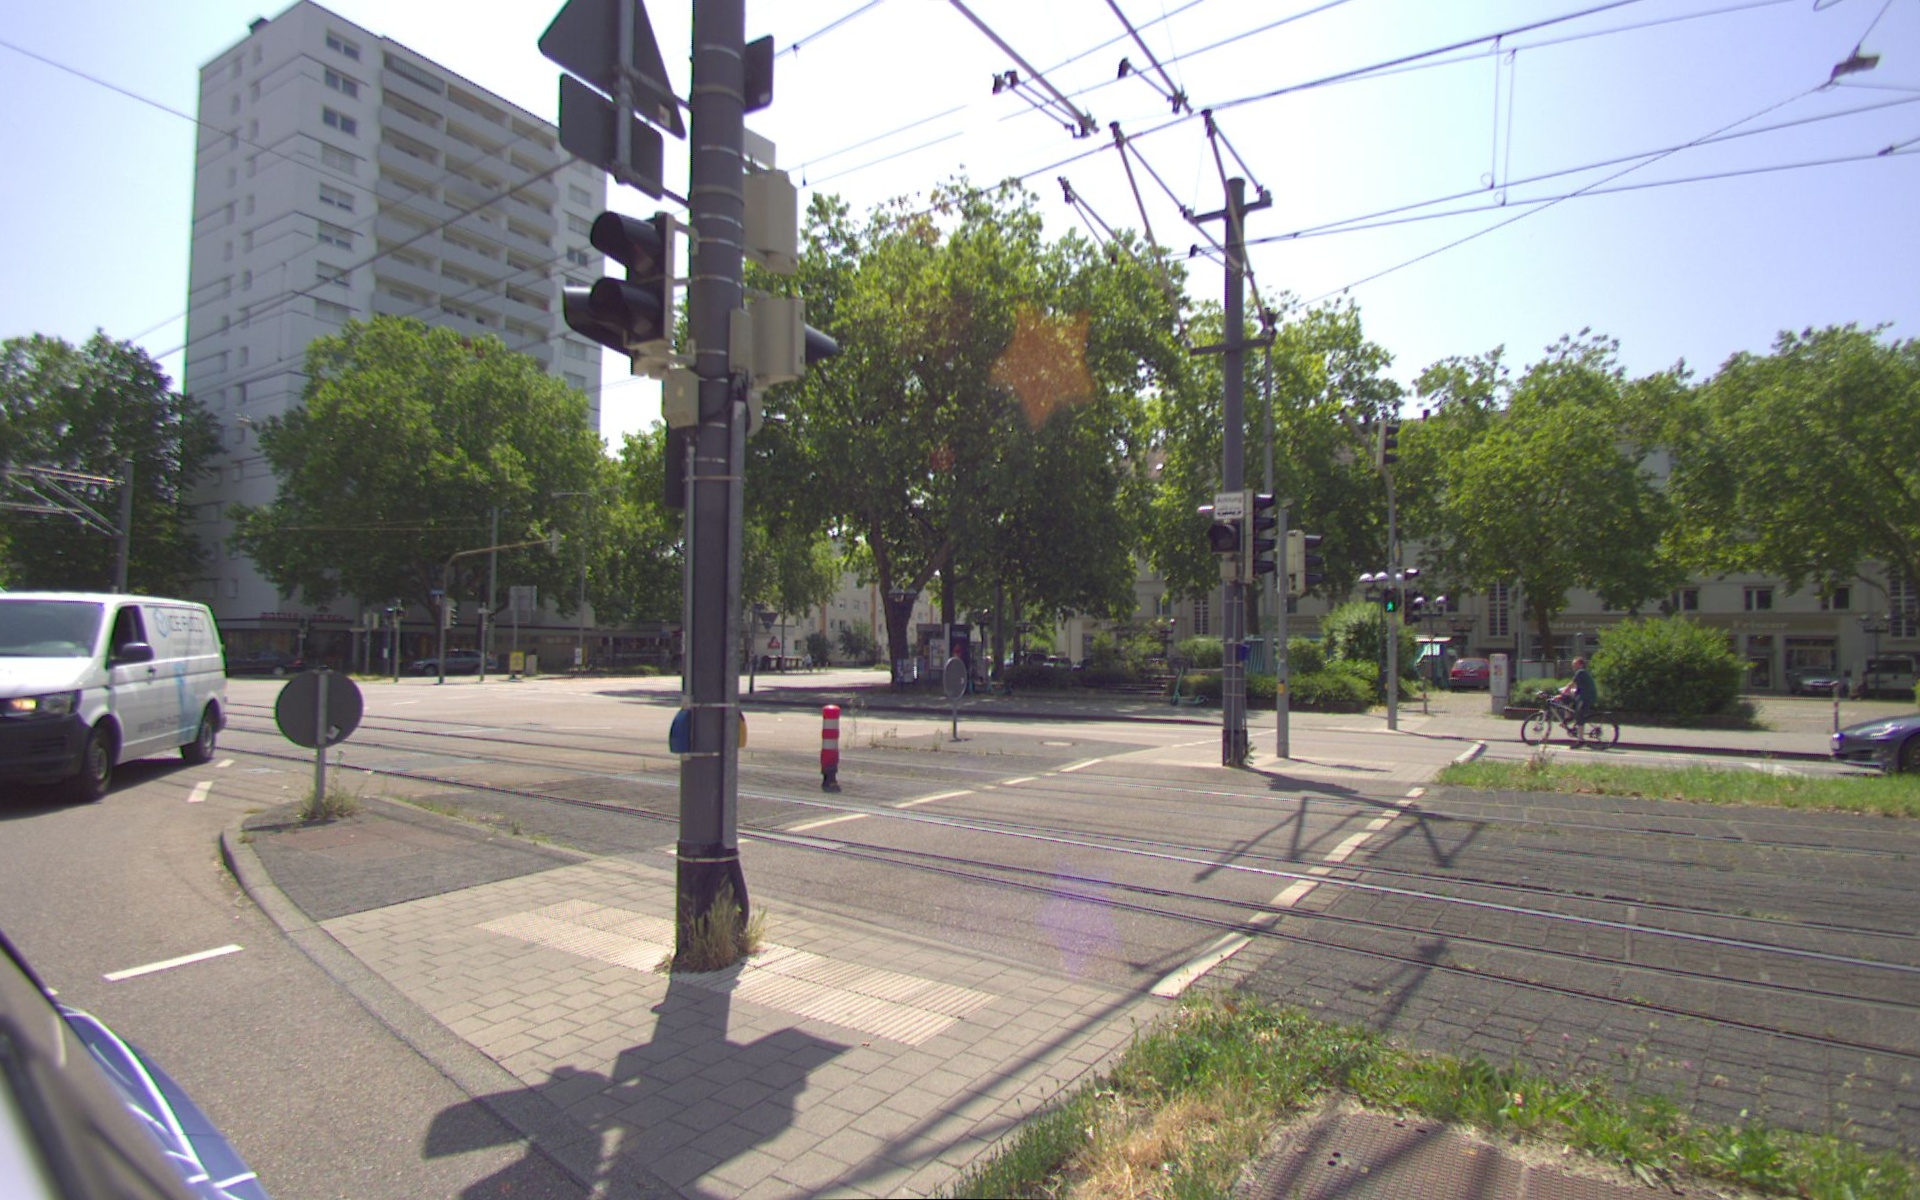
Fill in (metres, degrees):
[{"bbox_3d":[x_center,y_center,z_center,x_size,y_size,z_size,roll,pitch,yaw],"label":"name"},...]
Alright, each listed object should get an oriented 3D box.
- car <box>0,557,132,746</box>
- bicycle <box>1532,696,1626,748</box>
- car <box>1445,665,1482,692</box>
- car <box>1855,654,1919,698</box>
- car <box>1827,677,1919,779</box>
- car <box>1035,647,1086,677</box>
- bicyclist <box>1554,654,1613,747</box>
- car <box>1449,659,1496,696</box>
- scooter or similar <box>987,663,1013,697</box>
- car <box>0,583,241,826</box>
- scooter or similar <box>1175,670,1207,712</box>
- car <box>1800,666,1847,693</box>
[{"bbox_3d":[-14.683,0.646,12.978,2.053,2.657,6.617,0,-3,8],"label":"car"},{"bbox_3d":[11.680,2.291,19.149,1.476,0.889,0.492,-1,-3,30],"label":"bicycle"},{"bbox_3d":[22.646,3.494,45.482,1.352,1.106,2.711,-1,-3,29],"label":"car"},{"bbox_3d":[44.819,3.620,48.683,2.161,1.964,3.952,-2,-3,35],"label":"car"},{"bbox_3d":[15.123,1.781,13.847,4.611,1.369,1.933,-2,-4,31],"label":"car"},{"bbox_3d":[7.254,4.416,72.748,1.996,2.029,3.951,-2,-3,36],"label":"car"},{"bbox_3d":[11.753,1.874,19.106,0.865,1.698,0.634,-1,-3,29],"label":"bicyclist"},{"bbox_3d":[20.960,3.129,41.342,1.467,1.394,3.309,-1,-3,31],"label":"car"},{"bbox_3d":[1.345,2.703,34.269,0.977,1.129,0.253,-2,-3,44],"label":"scooter or similar"},{"bbox_3d":[-9.230,0.957,10.349,1.821,1.968,4.959,1,-3,-21],"label":"car"},{"bbox_3d":[6.524,2.562,28.622,0.861,1.129,0.253,-2,-3,44],"label":"scooter or similar"},{"bbox_3d":[49.520,4.548,58.081,1.618,1.420,3.879,-2,-3,35],"label":"car"}]
